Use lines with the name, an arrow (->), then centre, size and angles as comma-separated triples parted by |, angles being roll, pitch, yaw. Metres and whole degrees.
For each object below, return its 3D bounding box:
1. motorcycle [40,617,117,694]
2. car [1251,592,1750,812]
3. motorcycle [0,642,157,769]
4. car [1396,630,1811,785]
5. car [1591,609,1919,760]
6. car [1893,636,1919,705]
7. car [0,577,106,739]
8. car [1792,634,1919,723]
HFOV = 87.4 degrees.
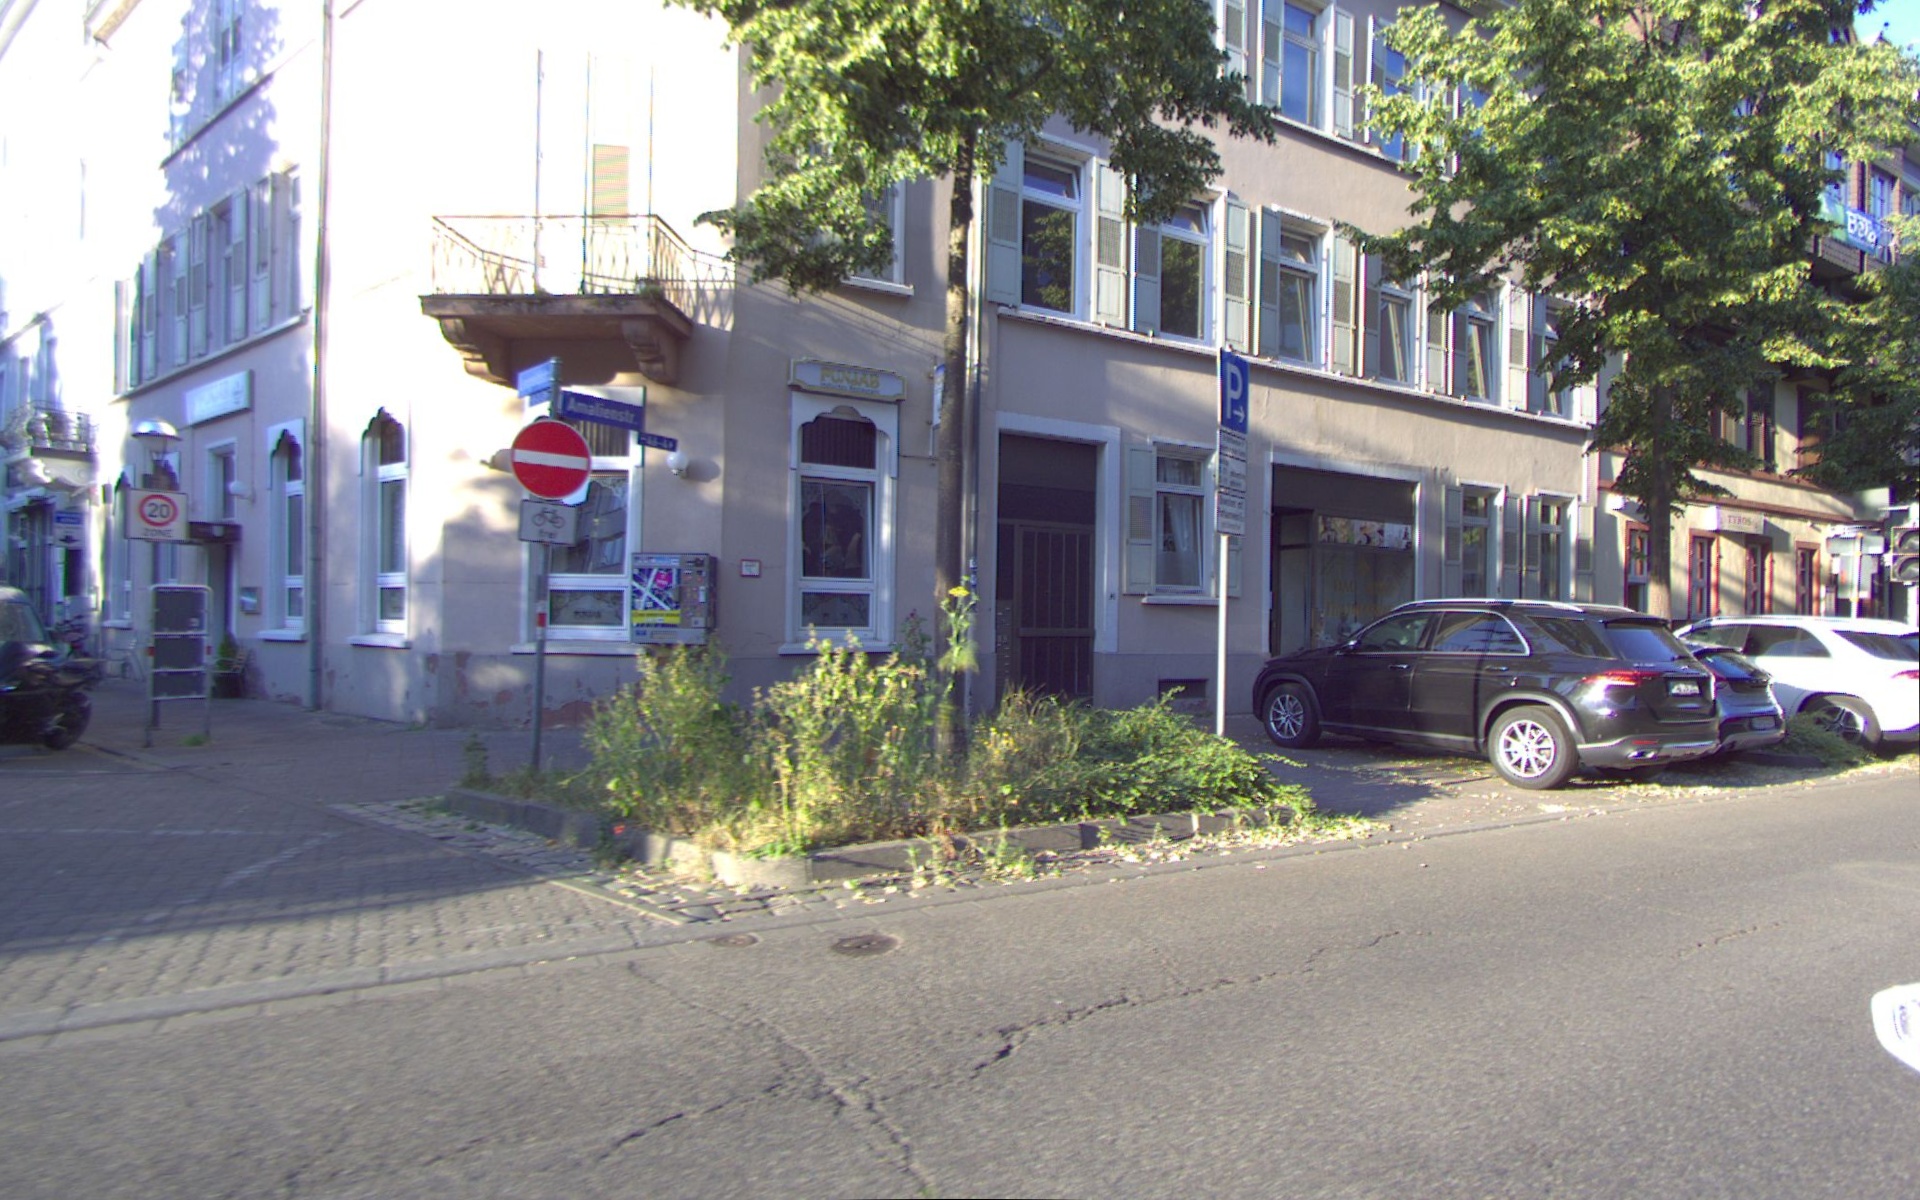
motorcycle -> -15.357, 0.921, 17.473 | 2.291, 1.202, 0.682 | 1, 0, 41
car -> 5.569, 0.882, 11.009 | 2.009, 1.859, 4.429 | 2, 0, -29
motorcycle -> -9.187, 0.998, 10.107 | 0.733, 1.044, 2.096 | 1, 0, -7
car -> 7.811, 1.182, 12.608 | 1.809, 1.463, 4.014 | 1, 0, -29
car -> 11.401, 1.044, 14.064 | 1.811, 1.731, 3.971 | 1, 0, -29
car -> 24.270, 1.679, 22.614 | 1.976, 1.620, 4.406 | 2, -1, -29
car -> -11.897, 0.596, 11.706 | 4.360, 1.699, 1.954 | 1, 0, 35
car -> 18.260, 1.480, 18.446 | 1.976, 1.527, 4.156 | 2, 0, -29
